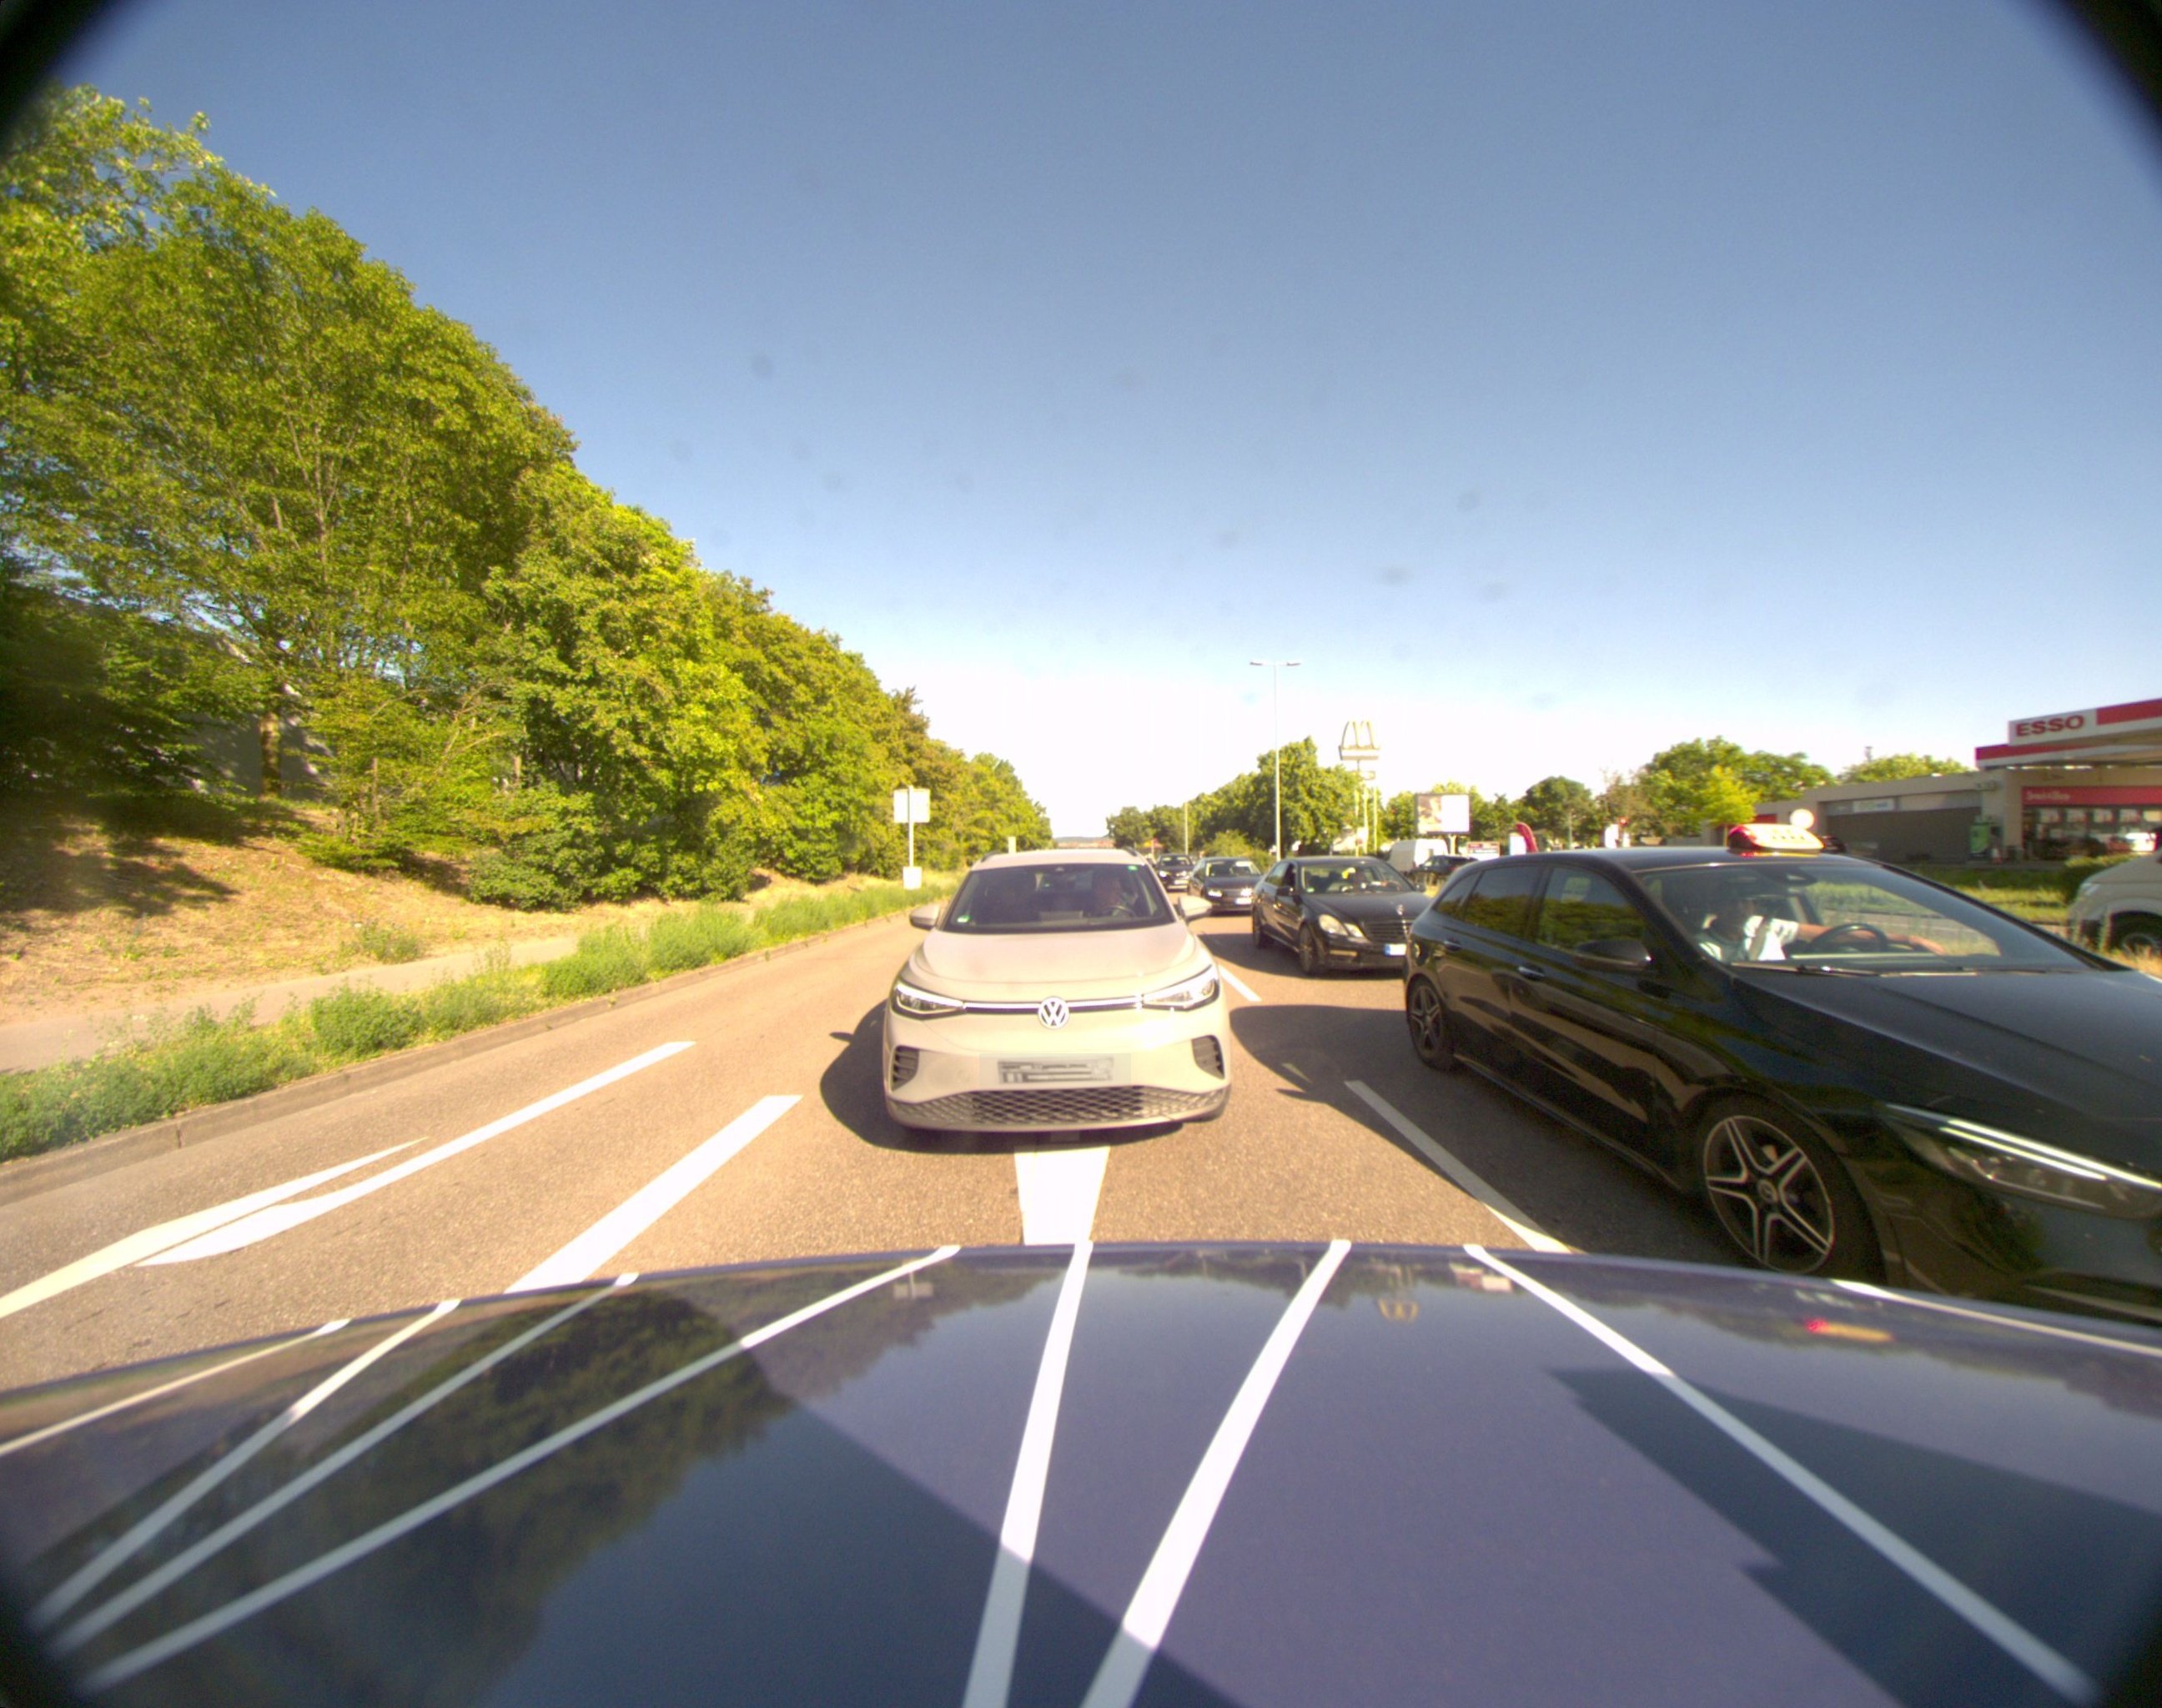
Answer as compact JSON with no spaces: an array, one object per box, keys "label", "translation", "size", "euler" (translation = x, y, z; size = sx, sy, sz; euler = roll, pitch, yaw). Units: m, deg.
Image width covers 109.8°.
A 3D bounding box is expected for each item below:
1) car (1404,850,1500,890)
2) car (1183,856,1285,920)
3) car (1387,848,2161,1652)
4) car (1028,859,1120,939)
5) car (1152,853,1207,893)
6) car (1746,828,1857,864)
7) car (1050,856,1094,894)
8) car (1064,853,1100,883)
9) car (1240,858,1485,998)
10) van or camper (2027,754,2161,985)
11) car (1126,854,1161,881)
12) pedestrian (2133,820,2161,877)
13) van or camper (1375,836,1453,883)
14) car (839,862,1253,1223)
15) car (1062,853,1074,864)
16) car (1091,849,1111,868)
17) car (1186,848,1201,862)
[{"label":"car","translation":[16.570,0.665,34.218],"size":[1.999,1.643,4.613],"euler":[1,0,-1]},{"label":"car","translation":[3.940,0.823,20.256],"size":[1.862,1.472,4.403],"euler":[-1,0,1]},{"label":"car","translation":[3.150,0.805,3.589],"size":[1.804,1.616,4.188],"euler":[-1,0,2]},{"label":"car","translation":[-0.119,0.894,16.800],"size":[1.765,1.503,3.760],"euler":[-2,0,1]},{"label":"car","translation":[4.196,0.766,32.954],"size":[1.862,1.578,4.403],"euler":[-1,0,1]},{"label":"car","translation":[37.697,-0.402,39.921],"size":[1.998,1.759,4.118],"euler":[-2,0,2]},{"label":"car","translation":[-0.350,0.882,33.238],"size":[1.765,1.503,3.760],"euler":[-2,0,1]},{"label":"car","translation":[0.078,0.739,40.996],"size":[1.765,1.503,3.760],"euler":[-2,0,1]},{"label":"car","translation":[3.633,0.846,10.754],"size":[1.862,1.515,4.403],"euler":[-1,0,1]},{"label":"van or camper","translation":[13.010,0.146,6.202],"size":[2.183,2.557,6.754],"euler":[-1,0,1]},{"label":"car","translation":[3.862,0.793,47.864],"size":[1.862,1.578,4.403],"euler":[-1,0,1]},{"label":"pedestrian","translation":[37.806,-0.195,26.622],"size":[0.703,2.002,0.840],"euler":[-1,0,1]},{"label":"van or camper","translation":[19.855,0.296,45.680],"size":[1.999,2.635,5.956],"euler":[1,0,0]},{"label":"car","translation":[-0.136,0.895,5.484],"size":[1.871,1.588,3.932],"euler":[-2,0,1]},{"label":"car","translation":[-2.586,0.883,151.095],"size":[2.289,2.037,5.381],"euler":[-1,0,-1]},{"label":"car","translation":[2.433,0.574,93.525],"size":[2.289,2.274,5.382],"euler":[-1,0,1]},{"label":"car","translation":[17.329,0.168,117.248],"size":[1.997,2.002,4.001],"euler":[-2,1,7]}]
